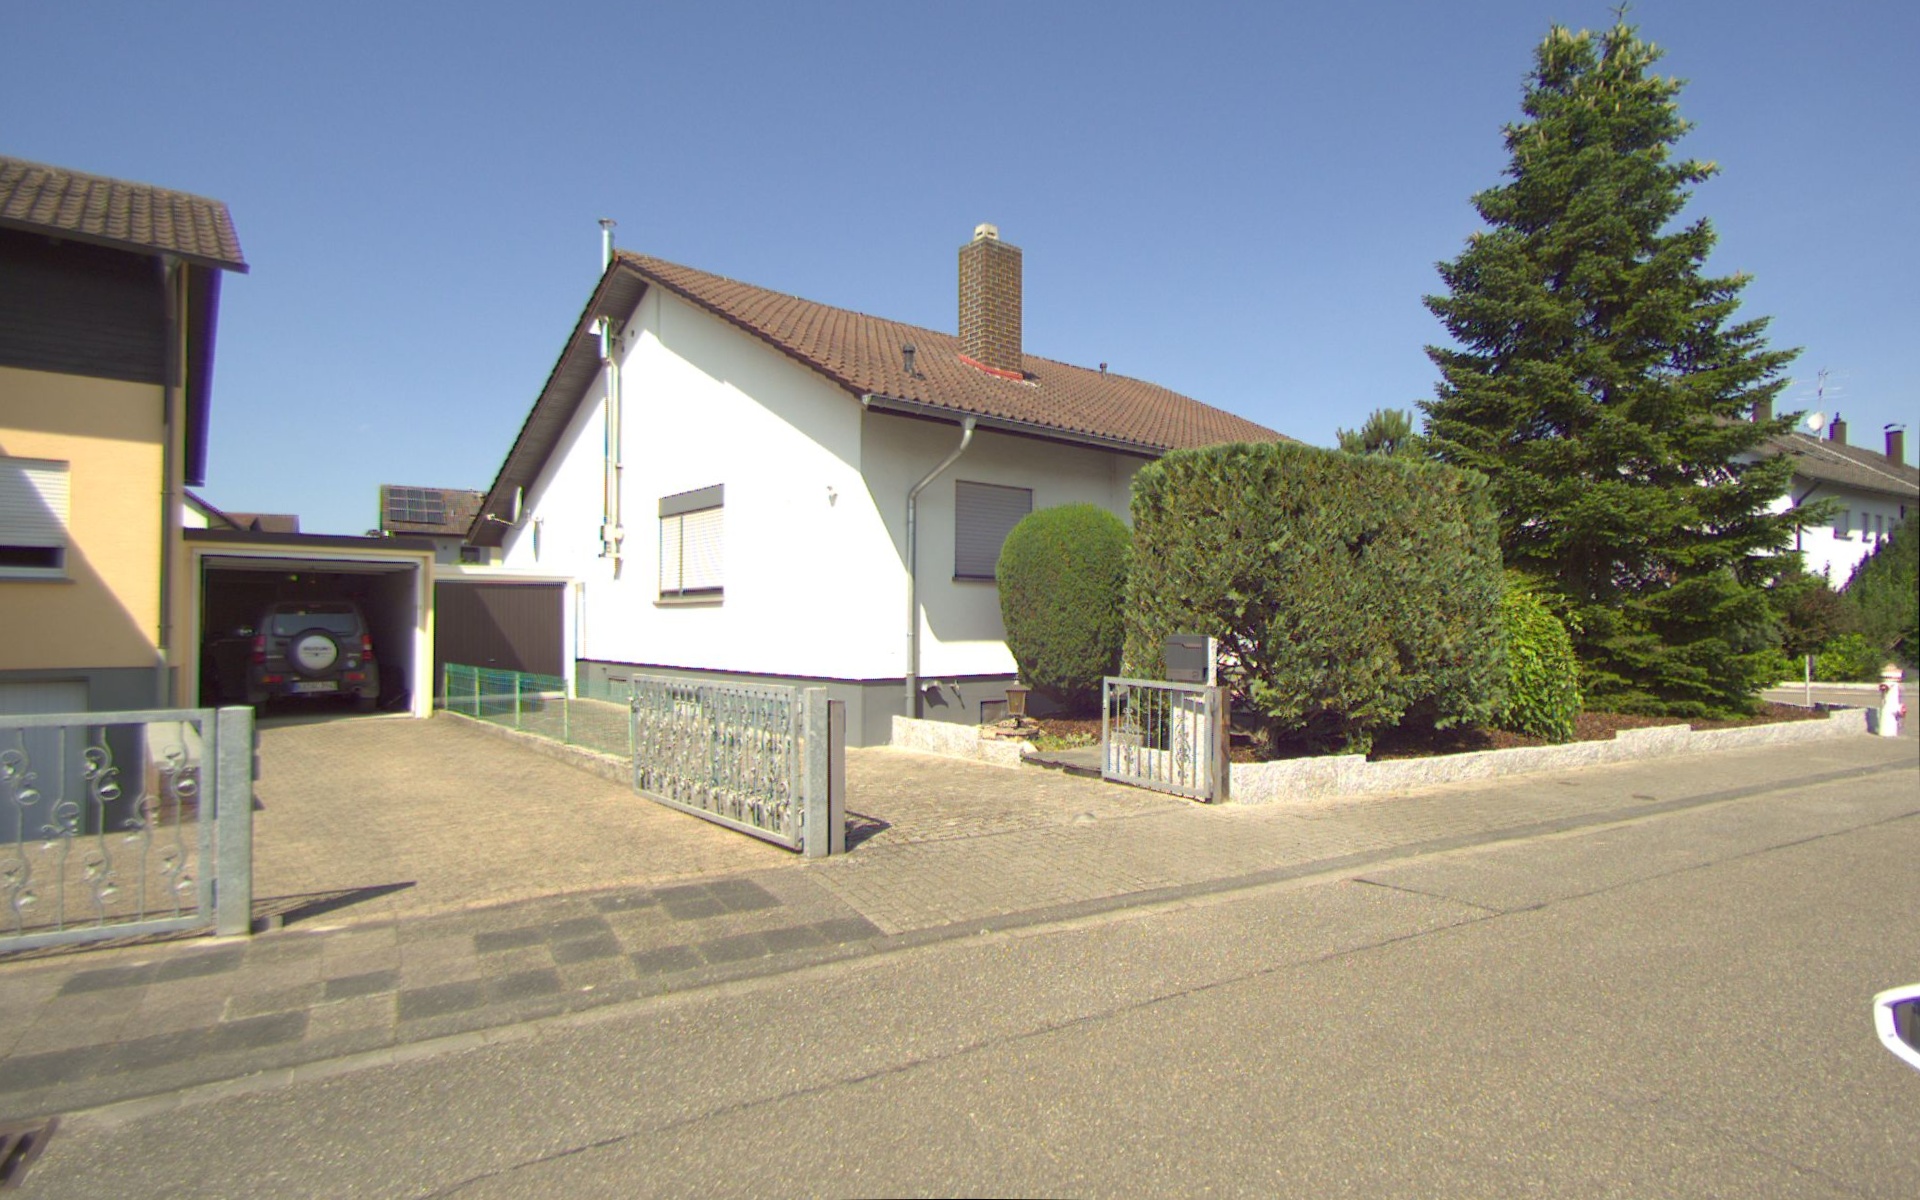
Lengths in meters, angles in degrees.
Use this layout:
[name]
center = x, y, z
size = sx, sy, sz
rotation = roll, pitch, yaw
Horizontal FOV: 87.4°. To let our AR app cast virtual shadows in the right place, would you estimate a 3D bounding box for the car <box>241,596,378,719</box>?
[car]
center = -9.974, 0.832, 15.298
size = 1.533, 1.632, 3.664
rotation = 1, -3, -36
